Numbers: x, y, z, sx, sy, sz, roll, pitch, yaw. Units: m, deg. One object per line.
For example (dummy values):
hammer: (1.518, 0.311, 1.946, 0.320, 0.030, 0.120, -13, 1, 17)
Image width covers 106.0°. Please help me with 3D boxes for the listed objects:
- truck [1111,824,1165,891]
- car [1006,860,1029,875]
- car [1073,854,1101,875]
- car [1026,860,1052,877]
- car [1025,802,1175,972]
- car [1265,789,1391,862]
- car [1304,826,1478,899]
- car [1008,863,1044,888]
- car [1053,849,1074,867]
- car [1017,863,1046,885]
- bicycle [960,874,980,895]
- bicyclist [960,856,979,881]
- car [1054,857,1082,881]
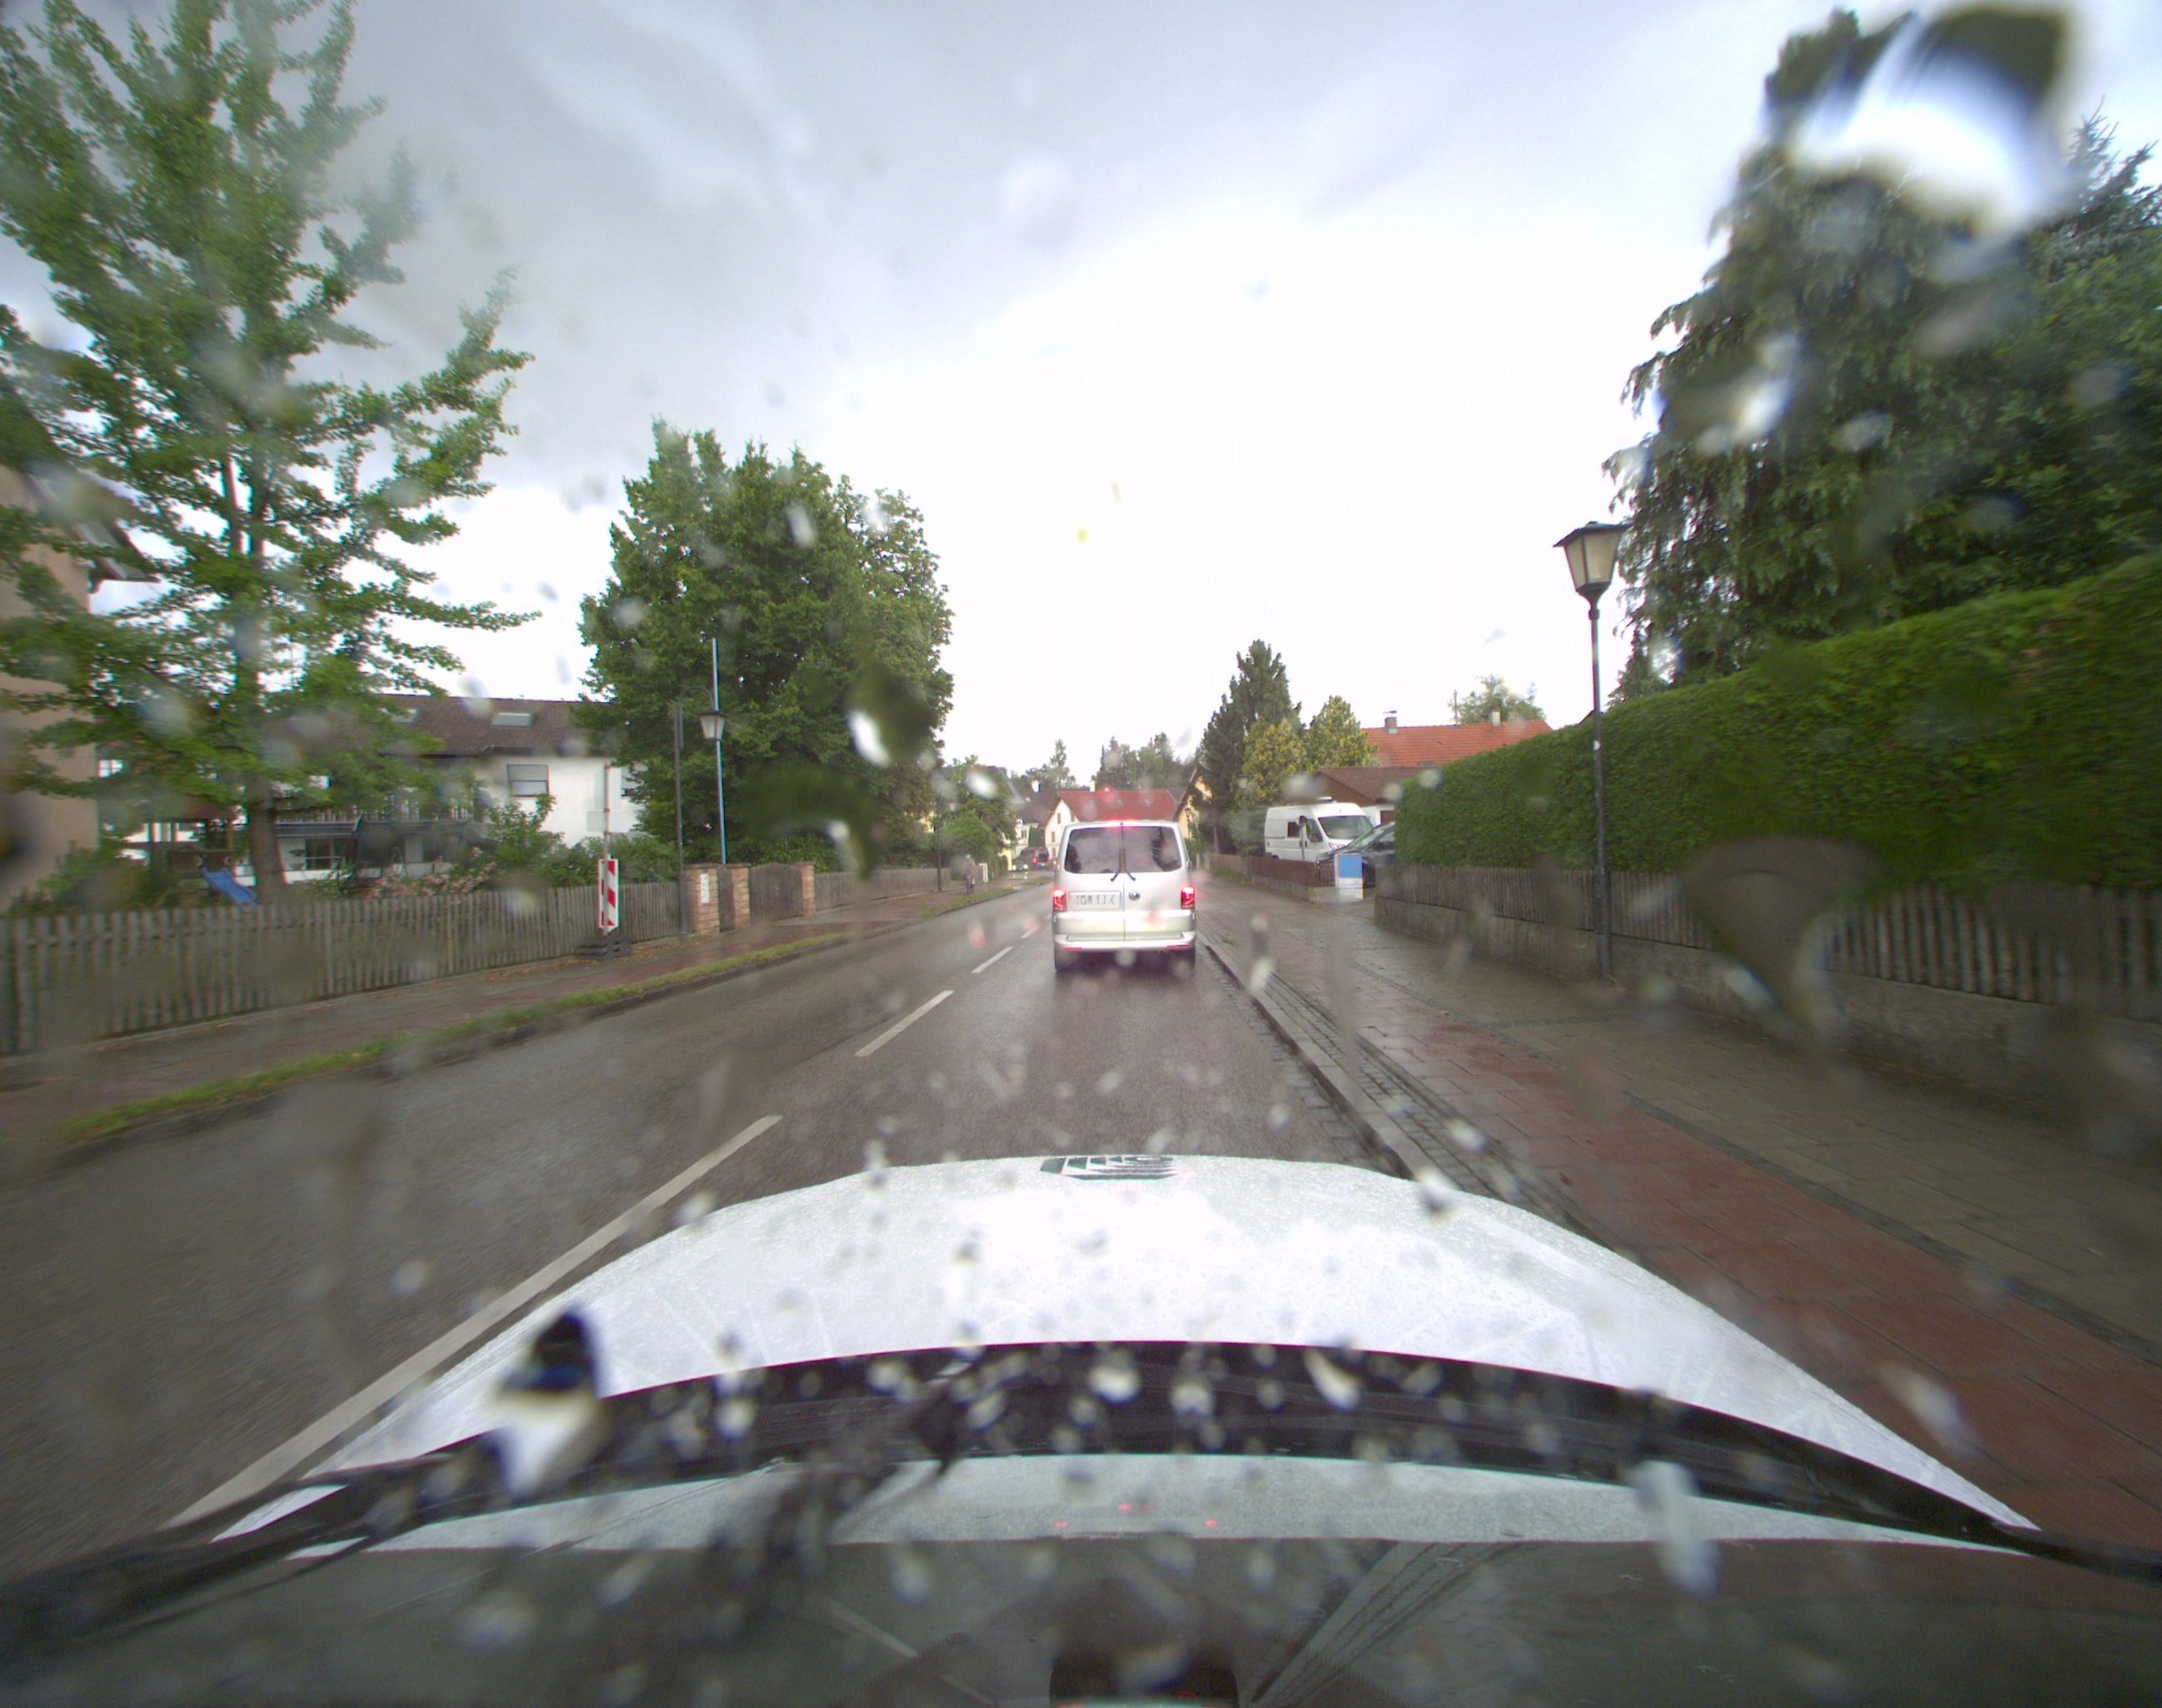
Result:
truck: (2.784, 0.192, 40.686, 2.465, 3.074, 6.299, 0, -1, 2)
car: (-7.235, 1.566, 92.893, 1.997, 1.703, 3.980, 0, -1, -15)
car: (0.593, 1.080, 82.112, 1.996, 2.014, 3.981, 0, -1, -14)
car: (-4.976, 1.690, 96.505, 2.000, 1.927, 3.973, 0, -1, -20)
car: (0.408, 0.418, 11.709, 1.792, 2.014, 4.006, 0, -1, 5)
car: (8.049, -0.823, 27.132, 1.994, 2.174, 4.934, 0, -1, -10)
car: (8.334, 0.186, 22.120, 4.081, 1.751, 1.694, -2, 2, -1)
car: (-3.286, 1.255, 48.885, 1.610, 1.444, 3.675, -1, -1, 4)
car: (-1.938, 0.466, 89.705, 1.992, 2.014, 3.990, 0, -1, -7)
car: (-3.375, 1.365, 56.388, 1.611, 1.444, 3.673, -1, -1, 3)
bicycle: (-4.688, 1.275, 34.532, 0.454, 0.798, 1.978, -1, 0, 2)
bicyclist: (-4.705, 0.609, 34.434, 0.585, 1.021, 1.061, -1, 0, 2)
car: (-0.883, 1.091, 58.626, 1.821, 1.558, 4.177, -2, -1, 1)
